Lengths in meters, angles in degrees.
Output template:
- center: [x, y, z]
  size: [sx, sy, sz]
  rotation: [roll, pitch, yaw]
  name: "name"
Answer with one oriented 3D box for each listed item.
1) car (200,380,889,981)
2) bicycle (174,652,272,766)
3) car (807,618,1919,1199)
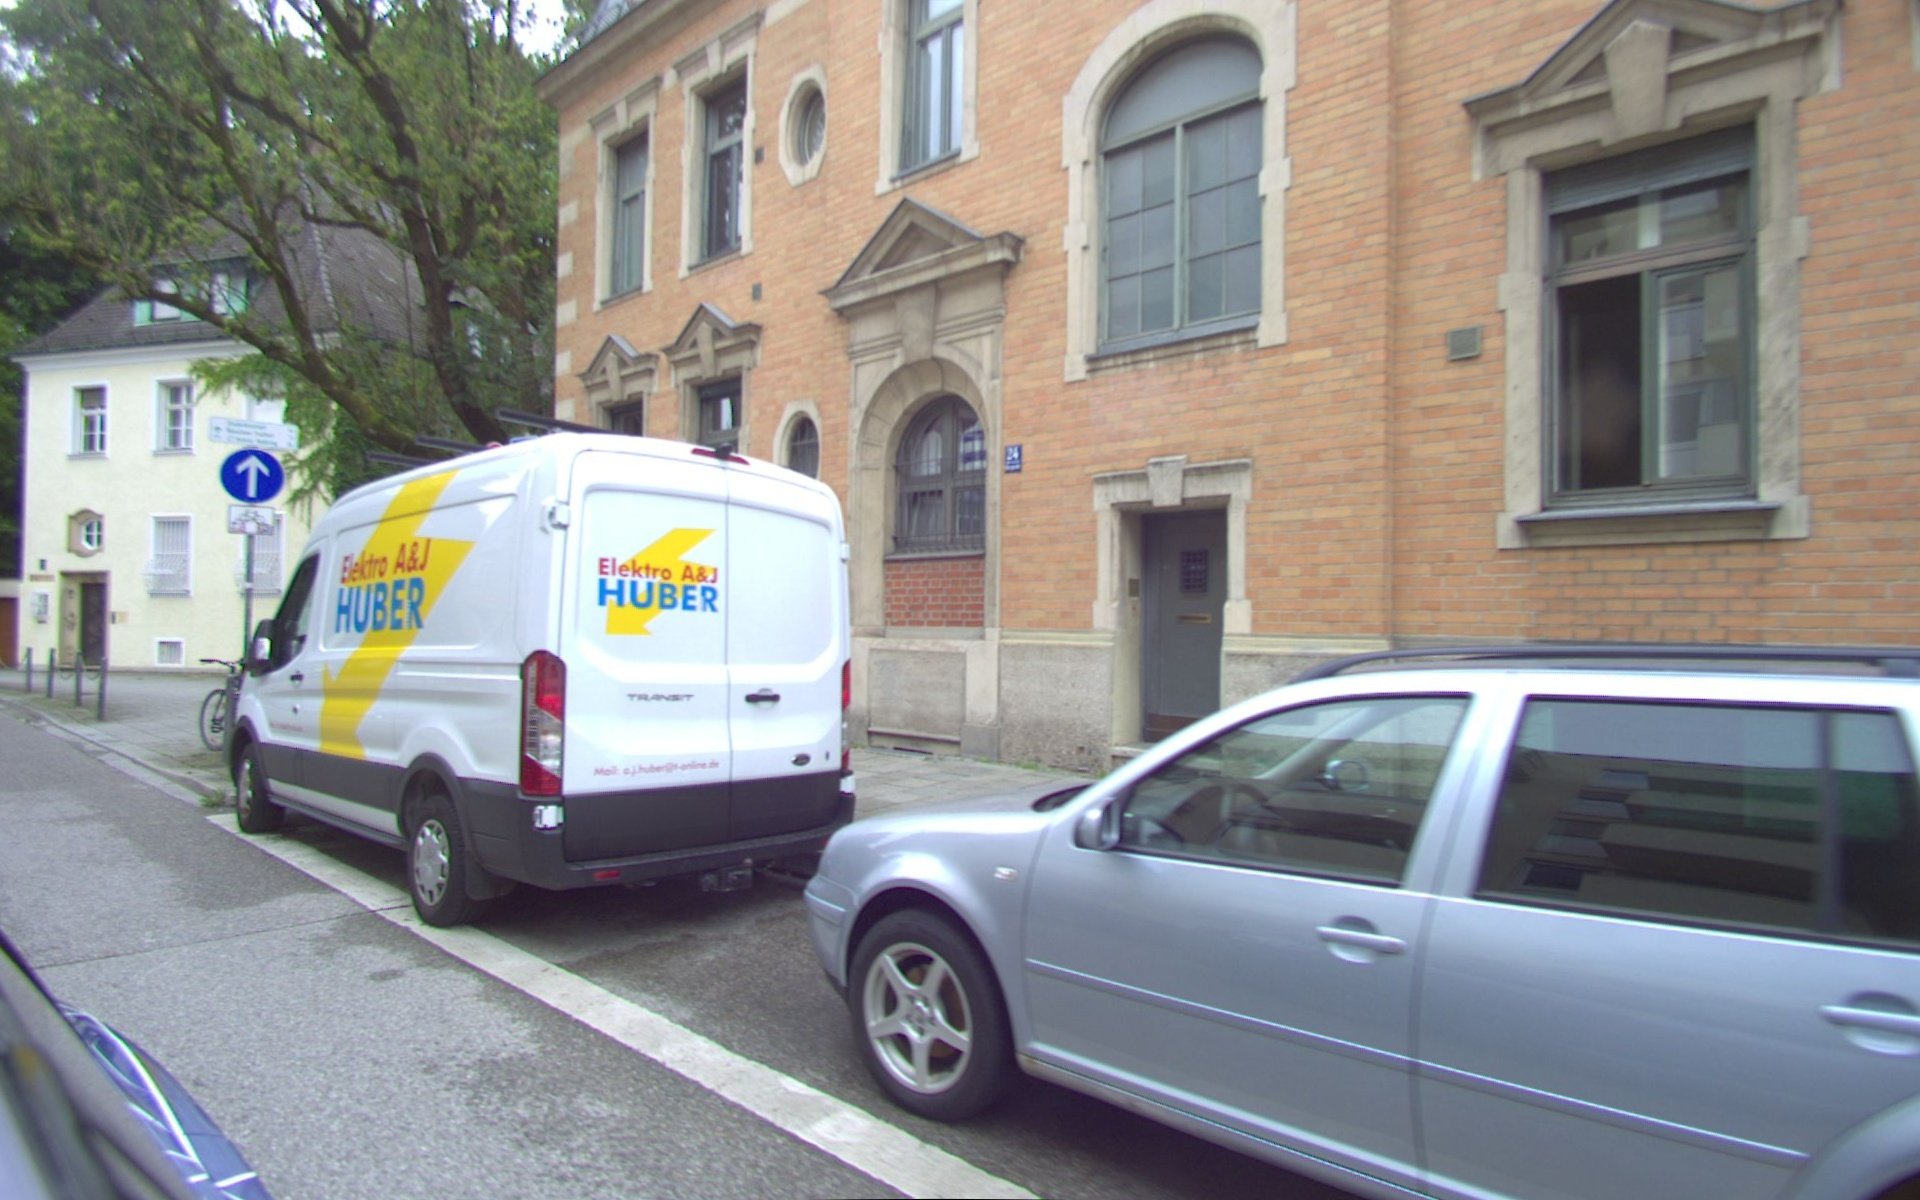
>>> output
- center: [-3.124, 0.386, 6.758]
  size: [5.469, 2.487, 1.971]
  rotation: [0, -4, 42]
  name: "car"
- center: [-7.922, 1.120, 10.851]
  size: [0.573, 1.062, 1.764]
  rotation: [3, -2, -44]
  name: "bicycle"
- center: [1.545, 0.823, 2.726]
  size: [3.995, 1.465, 1.671]
  rotation: [-1, -4, 42]
  name: "car"
